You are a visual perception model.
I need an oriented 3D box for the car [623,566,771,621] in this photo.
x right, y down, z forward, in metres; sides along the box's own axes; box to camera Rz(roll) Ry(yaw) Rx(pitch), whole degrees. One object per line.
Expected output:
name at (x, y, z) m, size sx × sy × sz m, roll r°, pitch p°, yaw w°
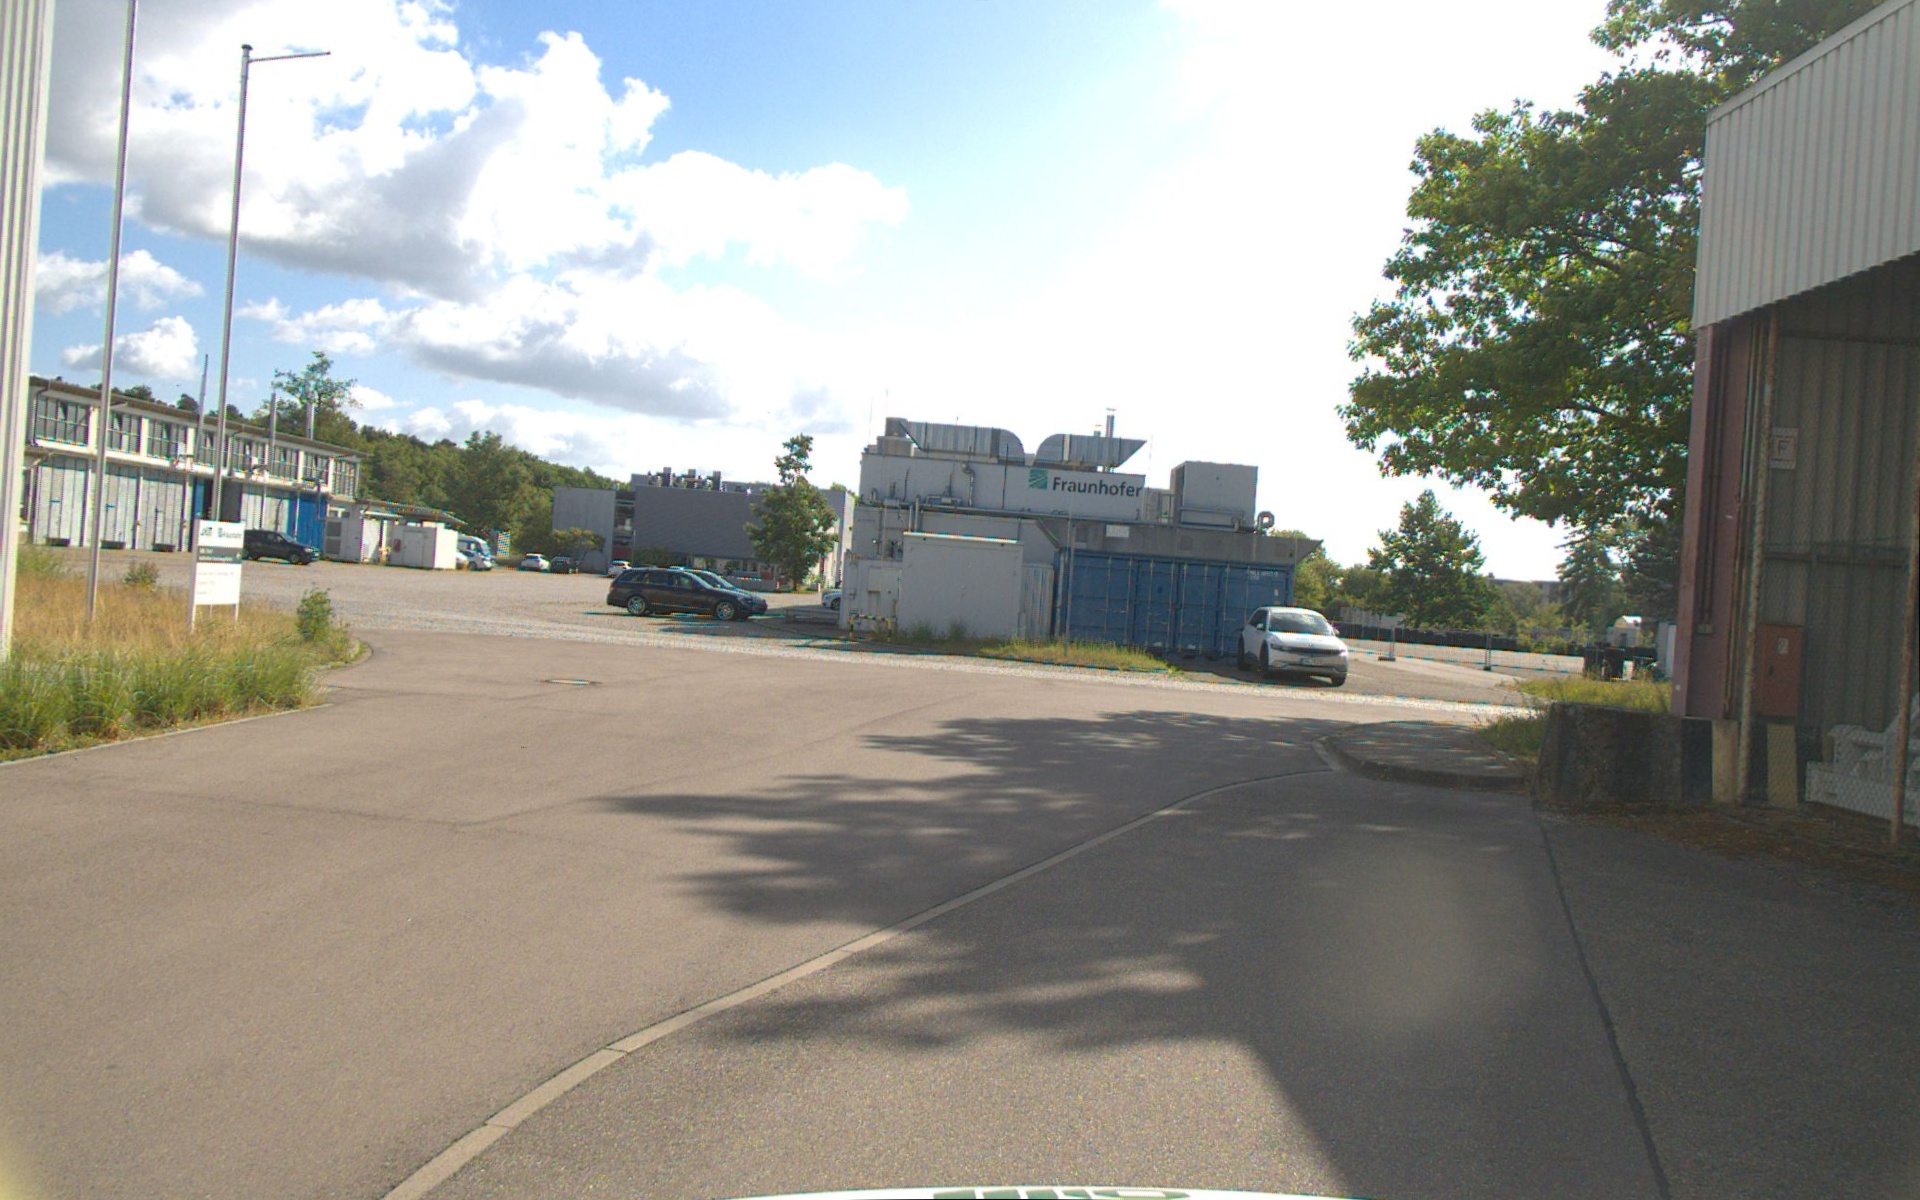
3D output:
car at (-8.612, -0.221, 54.380) m, size 4.433 × 1.534 × 1.909 m, roll 3°, pitch 0°, yaw 1°

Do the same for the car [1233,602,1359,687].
car at (7.773, 0.980, 38.639) m, size 1.953 × 1.613 × 4.173 m, roll 4°, pitch 2°, yaw -1°

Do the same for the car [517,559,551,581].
car at (-37.998, -2.644, 147.496) m, size 1.953 × 1.766 × 3.999 m, roll 2°, pitch 0°, yaw -1°

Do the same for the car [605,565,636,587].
car at (-30.332, -2.135, 148.028) m, size 1.953 × 1.766 × 3.999 m, roll 2°, pitch 0°, yaw -1°

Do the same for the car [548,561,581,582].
car at (-35.249, -2.541, 147.473) m, size 1.953 × 1.766 × 3.999 m, roll 2°, pitch 0°, yaw -1°

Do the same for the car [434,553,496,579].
car at (-36.207, -2.491, 121.052) m, size 3.907 × 1.638 × 1.999 m, roll 4°, pitch 0°, yaw -2°

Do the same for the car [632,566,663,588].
car at (-27.885, -2.044, 147.705) m, size 1.953 × 1.766 × 3.999 m, roll 2°, pitch 0°, yaw -1°

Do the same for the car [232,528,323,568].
car at (-36.093, -2.759, 87.506) m, size 3.910 × 1.817 × 1.998 m, roll 4°, pitch 0°, yaw -6°

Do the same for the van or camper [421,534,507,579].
van or camper at (-37.226, -3.230, 124.300) m, size 5.601 × 2.979 × 2.472 m, roll 4°, pitch 0°, yaw -3°

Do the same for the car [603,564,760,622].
car at (-8.563, -0.224, 51.143) m, size 4.433 × 1.534 × 1.909 m, roll 3°, pitch 0°, yaw 1°

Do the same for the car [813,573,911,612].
car at (-4.629, -0.361, 78.787) m, size 4.433 × 1.534 × 1.909 m, roll 4°, pitch 0°, yaw 0°

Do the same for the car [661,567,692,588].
car at (-25.354, -1.980, 148.079) m, size 2.149 × 1.766 × 3.999 m, roll 2°, pitch 0°, yaw -1°
